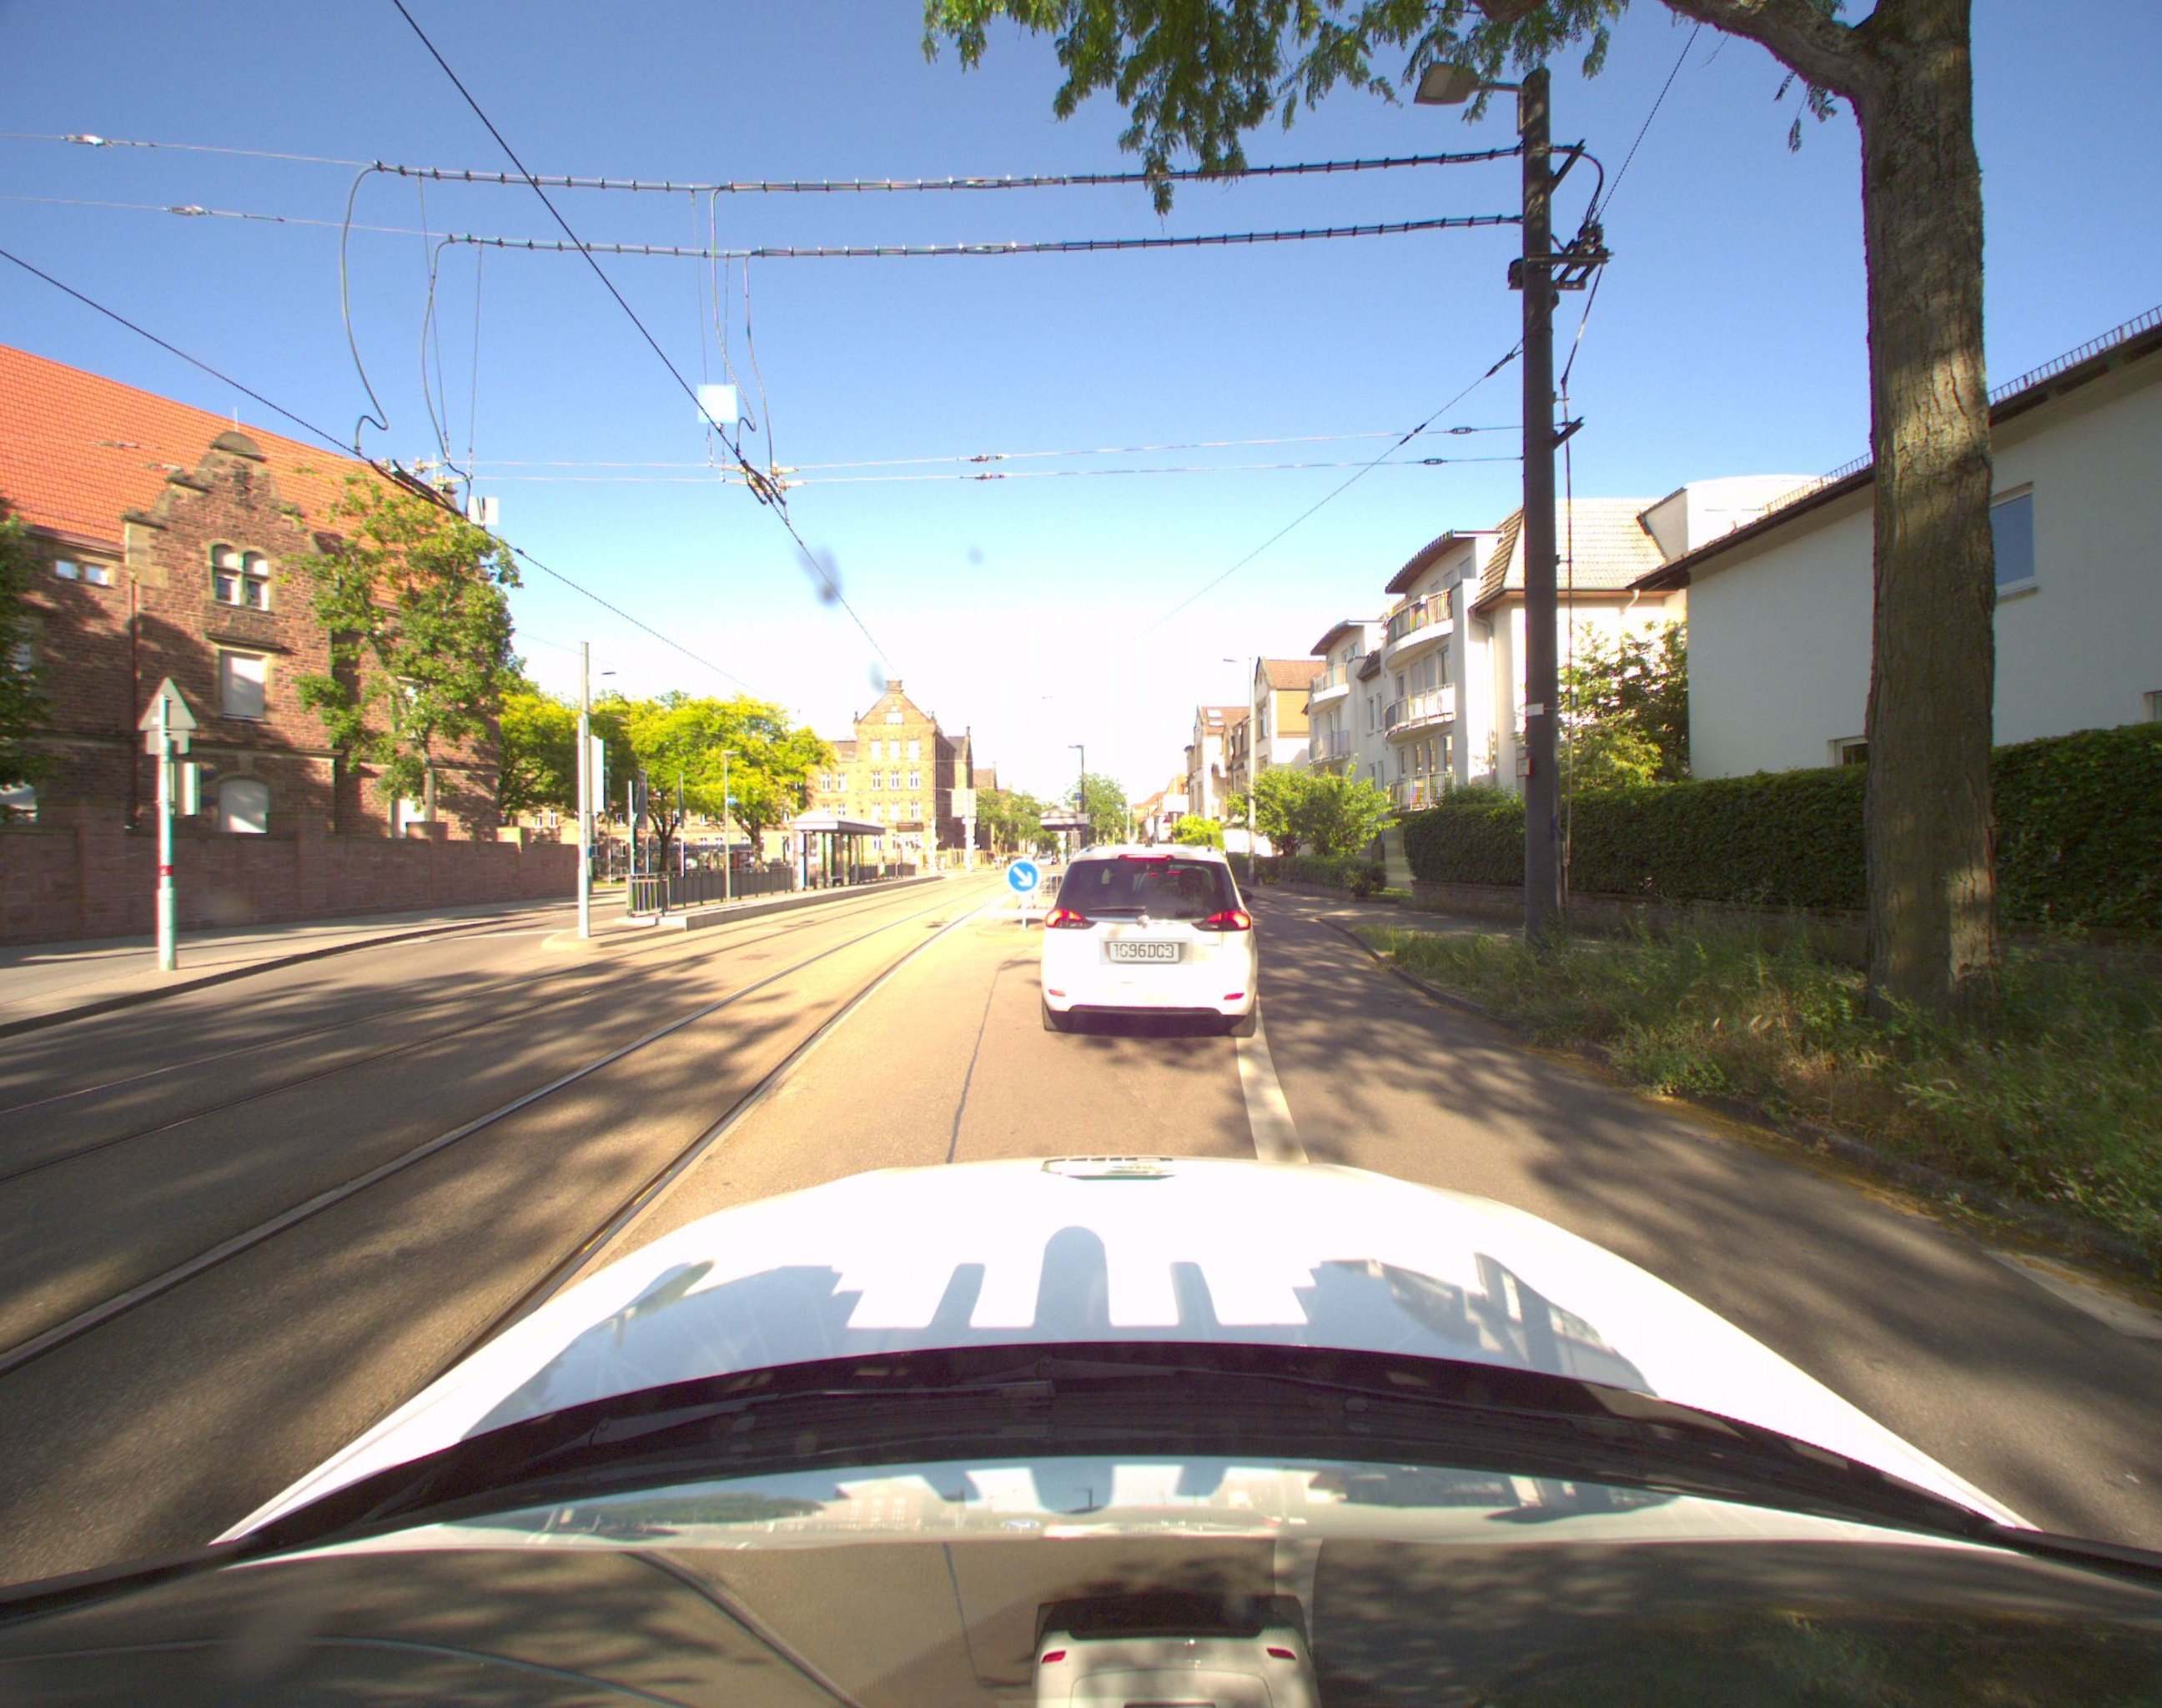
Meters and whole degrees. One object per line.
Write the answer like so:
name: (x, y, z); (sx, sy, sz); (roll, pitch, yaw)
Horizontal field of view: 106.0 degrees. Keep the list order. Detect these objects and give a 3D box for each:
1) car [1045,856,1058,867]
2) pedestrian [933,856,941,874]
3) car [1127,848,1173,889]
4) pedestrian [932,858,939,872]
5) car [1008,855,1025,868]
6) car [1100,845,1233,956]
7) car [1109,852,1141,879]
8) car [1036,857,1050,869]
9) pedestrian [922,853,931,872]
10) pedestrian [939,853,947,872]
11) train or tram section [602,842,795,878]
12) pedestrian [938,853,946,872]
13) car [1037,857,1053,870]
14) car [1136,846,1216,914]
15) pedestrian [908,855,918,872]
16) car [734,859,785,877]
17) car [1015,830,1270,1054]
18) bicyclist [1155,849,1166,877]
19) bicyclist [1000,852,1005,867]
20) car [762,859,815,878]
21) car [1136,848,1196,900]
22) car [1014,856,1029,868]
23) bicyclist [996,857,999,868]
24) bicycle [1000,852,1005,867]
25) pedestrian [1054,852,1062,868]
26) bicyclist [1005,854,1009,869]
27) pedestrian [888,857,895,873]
car: (-4.617, 1.175, 129.381); (1.740, 1.716, 4.001); (0, -1, 2)
pedestrian: (-15.766, 1.191, 88.922); (0.795, 2.014, 1.042); (0, -1, -12)
car: (2.992, 0.615, 36.174); (1.899, 1.661, 4.003); (-1, 0, 3)
pedestrian: (-17.175, 1.253, 95.884); (0.651, 1.612, 0.712); (0, -1, 4)
car: (-8.510, 1.025, 107.435); (1.740, 1.716, 4.001); (0, -1, 2)
car: (1.556, 0.687, 13.852); (1.896, 1.597, 4.010); (-1, 0, 9)
car: (2.836, 0.749, 53.166); (1.901, 1.661, 4.000); (-1, 0, 0)
car: (-5.383, 1.281, 115.534); (1.740, 1.716, 4.001); (0, -1, 2)
pedestrian: (-16.921, 0.937, 89.026); (0.800, 2.014, 0.713); (0, -1, -32)
pedestrian: (-15.230, 0.933, 89.940); (0.797, 2.014, 0.716); (0, -1, -19)
train or tram section: (-37.853, 0.575, 81.127); (17.346, 3.154, 3.344); (-1, -1, -3)
pedestrian: (-14.561, 0.865, 85.498); (0.796, 2.014, 0.717); (0, -1, -15)
car: (-4.719, 1.251, 107.656); (1.740, 1.716, 4.001); (0, -1, 2)
car: (2.617, 0.637, 21.673); (1.896, 1.624, 4.010); (-1, 0, 9)
pedestrian: (-18.451, 1.032, 89.664); (0.802, 1.901, 0.747); (-1, -1, 16)
car: (-29.661, 1.314, 75.195); (3.976, 1.630, 1.817); (0, -1, -2)
car: (0.761, 0.664, 8.144); (1.896, 1.661, 4.010); (-1, 0, 9)
bicyclist: (4.821, 0.524, 49.424); (0.613, 1.686, 0.780); (-1, 0, 6)
bicyclist: (-10.590, 0.793, 109.686); (0.496, 2.013, 0.572); (-1, 0, 1)
car: (-25.453, 1.238, 70.953); (3.976, 1.630, 1.817); (0, -1, -2)
car: (2.972, 0.651, 28.330); (1.897, 1.661, 4.007); (-1, 0, 6)
car: (-8.342, 1.110, 114.102); (1.740, 1.716, 4.001); (0, -1, 2)
bicyclist: (-10.673, 1.053, 103.654); (0.312, 1.444, 0.384); (-1, 0, 1)
bicycle: (-10.591, 0.793, 109.689); (0.485, 2.013, 1.406); (-1, 0, 2)
pedestrian: (-2.838, 0.707, 99.465); (0.744, 1.901, 0.805); (0, -1, -20)
bicyclist: (-10.186, 1.057, 112.042); (0.486, 2.014, 0.502); (0, -1, 1)
pedestrian: (-20.352, 1.172, 87.422); (0.768, 1.774, 0.717); (0, -1, -15)
